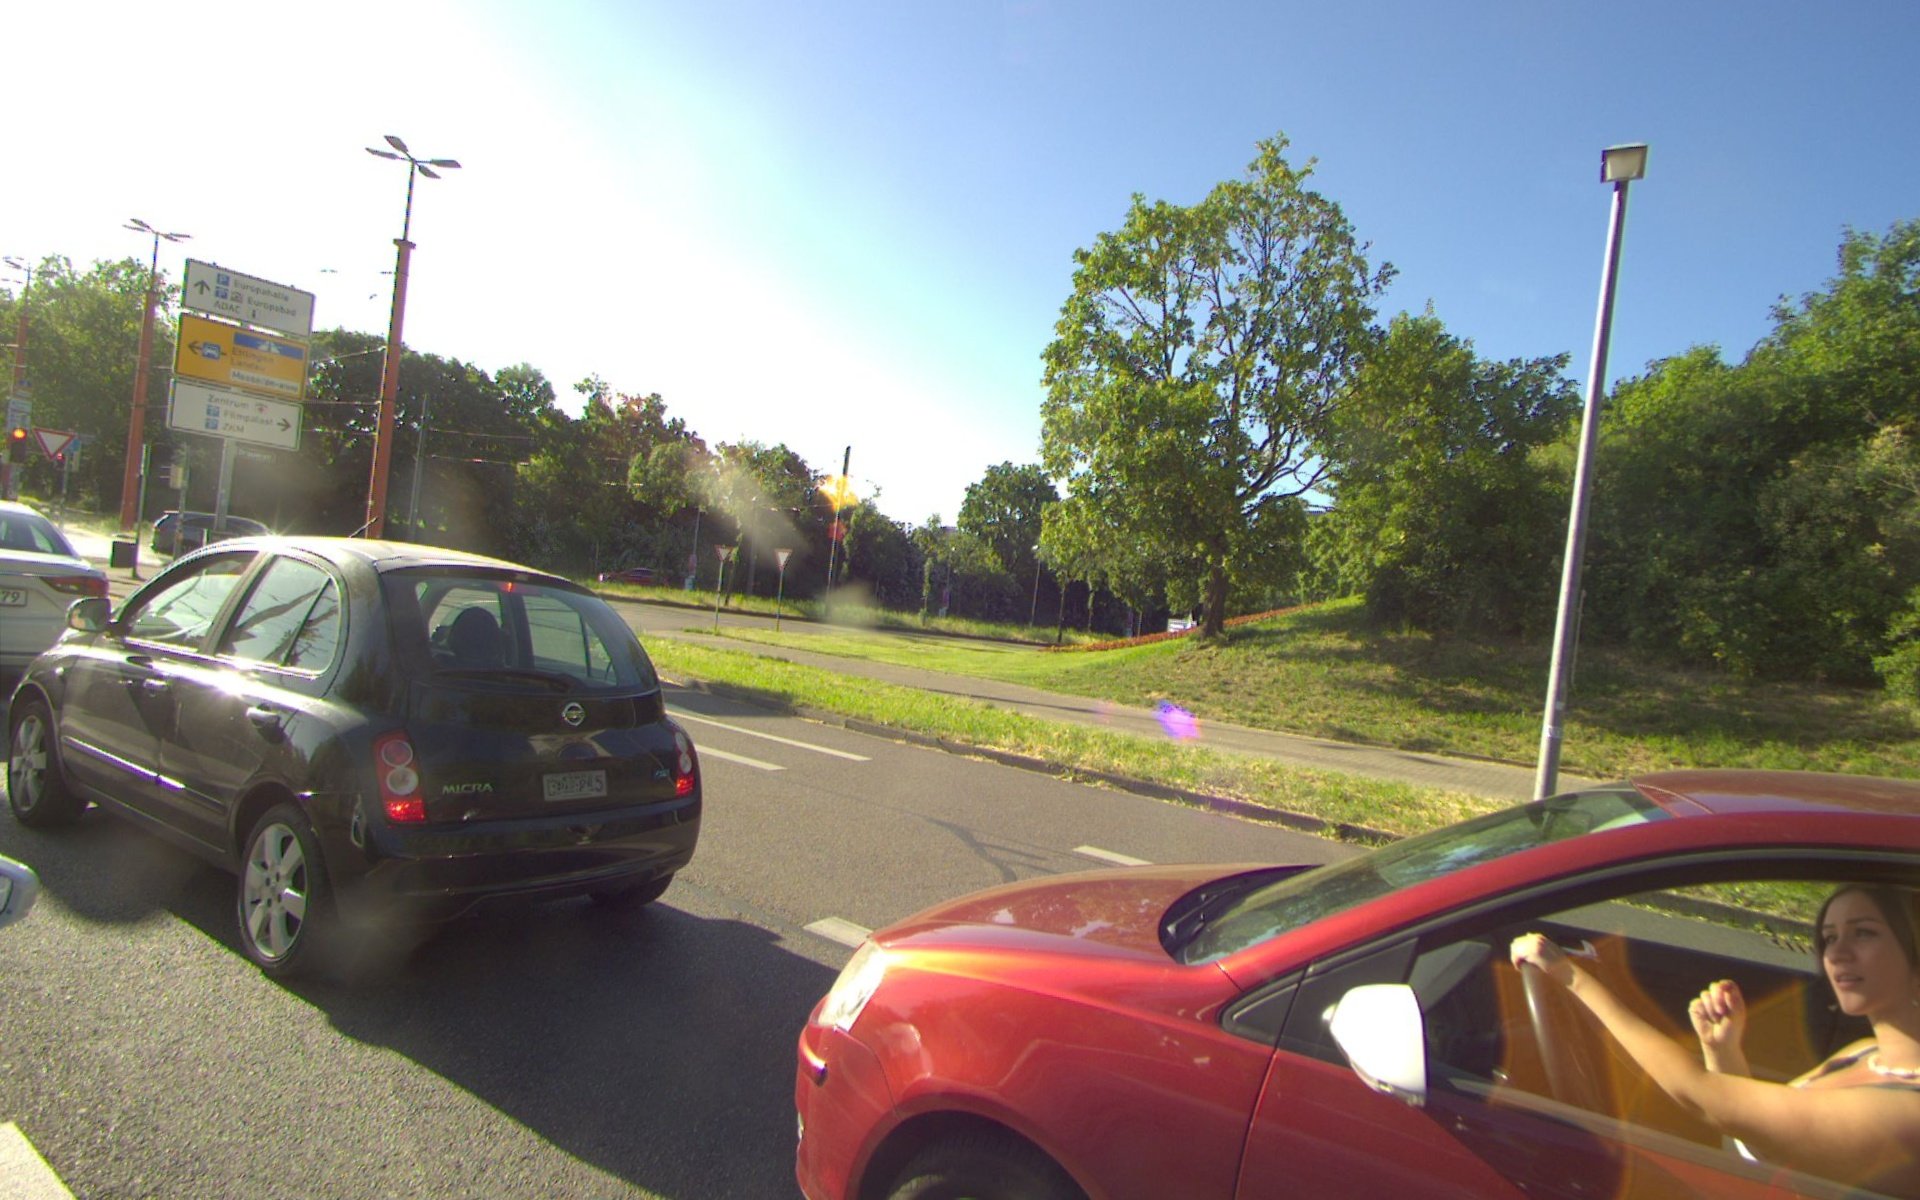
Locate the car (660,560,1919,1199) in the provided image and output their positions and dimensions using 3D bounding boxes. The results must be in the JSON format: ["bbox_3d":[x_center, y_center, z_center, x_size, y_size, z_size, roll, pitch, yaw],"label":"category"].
[{"bbox_3d":[1.811,1.007,1.628,4.650,1.577,1.769,7,0,34],"label":"car"}]

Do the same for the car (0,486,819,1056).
[{"bbox_3d":[-3.067,0.417,4.879,4.546,1.500,1.737,7,0,32],"label":"car"}]

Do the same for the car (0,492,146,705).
[{"bbox_3d":[-8.611,-0.222,8.200,4.295,1.482,1.769,7,0,33],"label":"car"}]

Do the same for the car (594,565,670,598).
[{"bbox_3d":[-21.223,-1.204,65.149,4.244,1.513,1.984,8,0,-31],"label":"car"}]

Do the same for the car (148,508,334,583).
[{"bbox_3d":[-23.256,-1.719,32.802,4.643,1.724,1.984,8,-1,-31],"label":"car"}]
